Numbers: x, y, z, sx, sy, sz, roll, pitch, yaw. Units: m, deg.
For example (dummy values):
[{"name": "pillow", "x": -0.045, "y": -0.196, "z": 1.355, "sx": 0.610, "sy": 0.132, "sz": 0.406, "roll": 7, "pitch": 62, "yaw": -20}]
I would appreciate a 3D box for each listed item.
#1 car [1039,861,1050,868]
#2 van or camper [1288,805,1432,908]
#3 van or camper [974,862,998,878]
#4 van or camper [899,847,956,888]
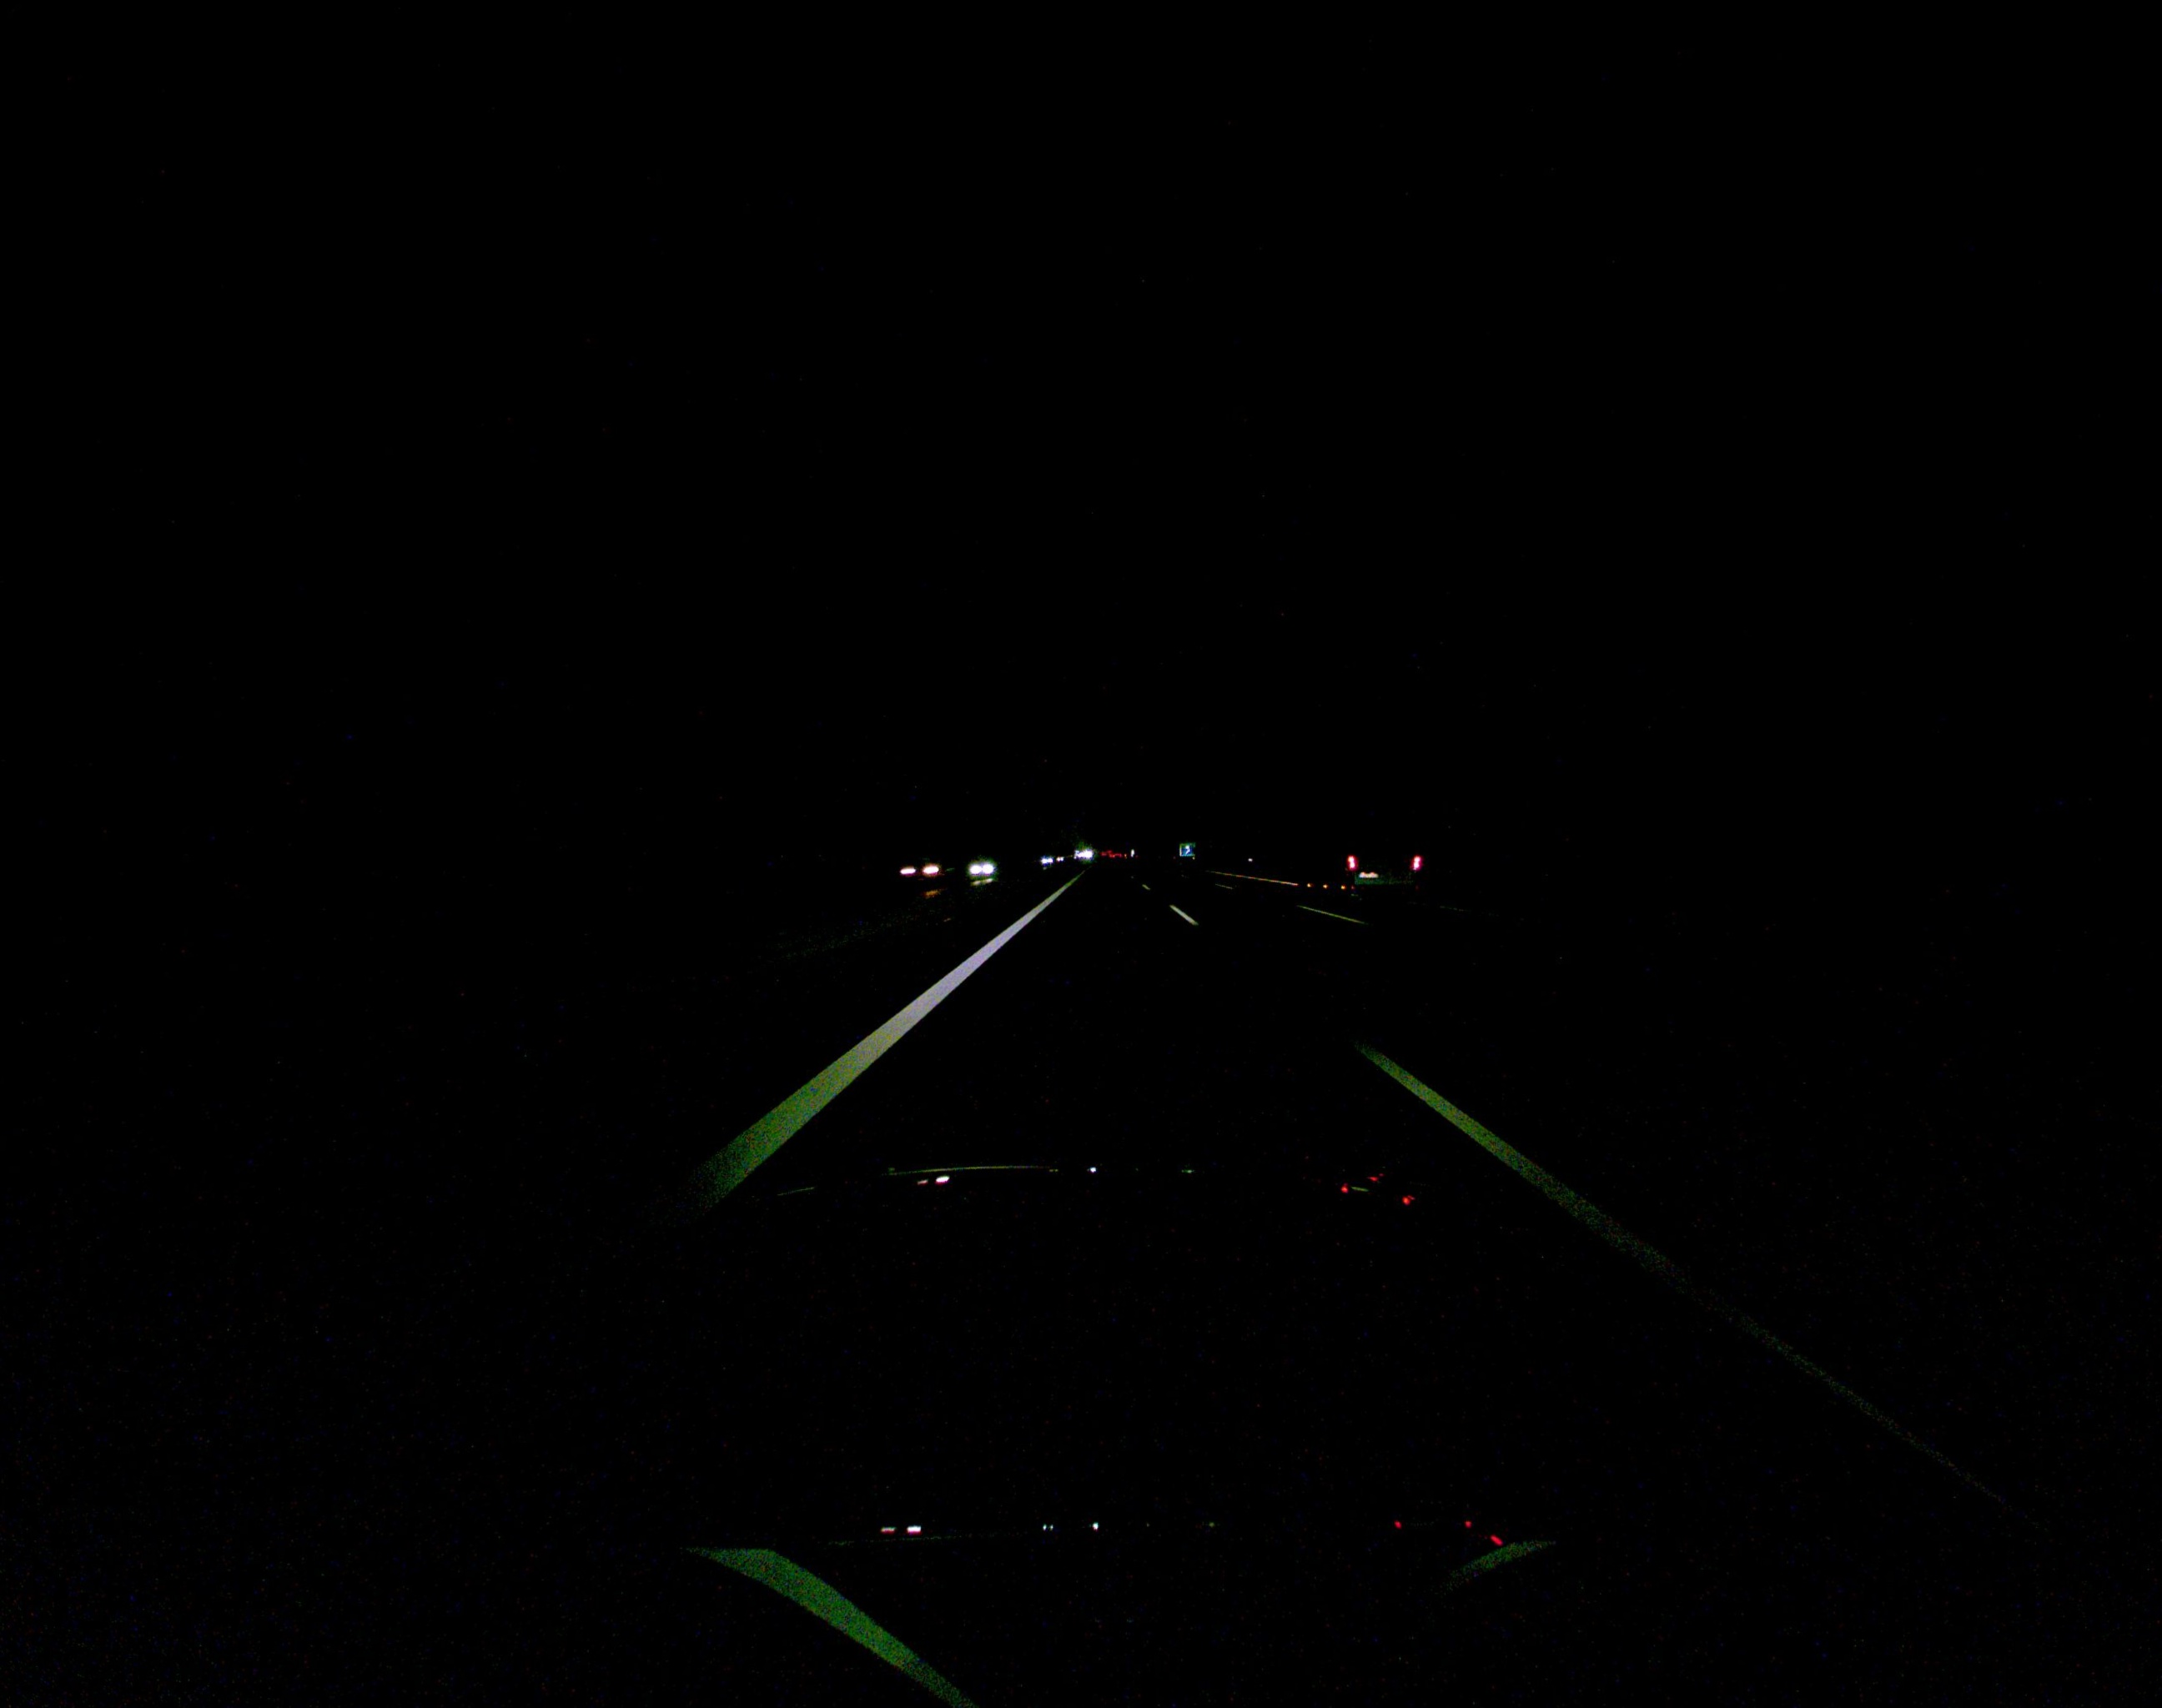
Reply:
[{"name": "car", "x": -8.445, "y": 2.455, "z": 188.414, "sx": 1.986, "sy": 1.638, "sz": 5.076, "roll": -1, "pitch": 0, "yaw": 1}, {"name": "van or camper", "x": 8.367, "y": 0.062, "z": 25.302, "sx": 2.199, "sy": 2.771, "sz": 6.805, "roll": 0, "pitch": 0, "yaw": 1}, {"name": "van or camper", "x": -10.137, "y": 1.661, "z": 86.964, "sx": 1.773, "sy": 1.441, "sz": 5.104, "roll": -5, "pitch": 0, "yaw": 1}, {"name": "van or camper", "x": -11.196, "y": 0.906, "z": 60.033, "sx": 2.321, "sy": 2.631, "sz": 7.780, "roll": -4, "pitch": 0, "yaw": 2}]
